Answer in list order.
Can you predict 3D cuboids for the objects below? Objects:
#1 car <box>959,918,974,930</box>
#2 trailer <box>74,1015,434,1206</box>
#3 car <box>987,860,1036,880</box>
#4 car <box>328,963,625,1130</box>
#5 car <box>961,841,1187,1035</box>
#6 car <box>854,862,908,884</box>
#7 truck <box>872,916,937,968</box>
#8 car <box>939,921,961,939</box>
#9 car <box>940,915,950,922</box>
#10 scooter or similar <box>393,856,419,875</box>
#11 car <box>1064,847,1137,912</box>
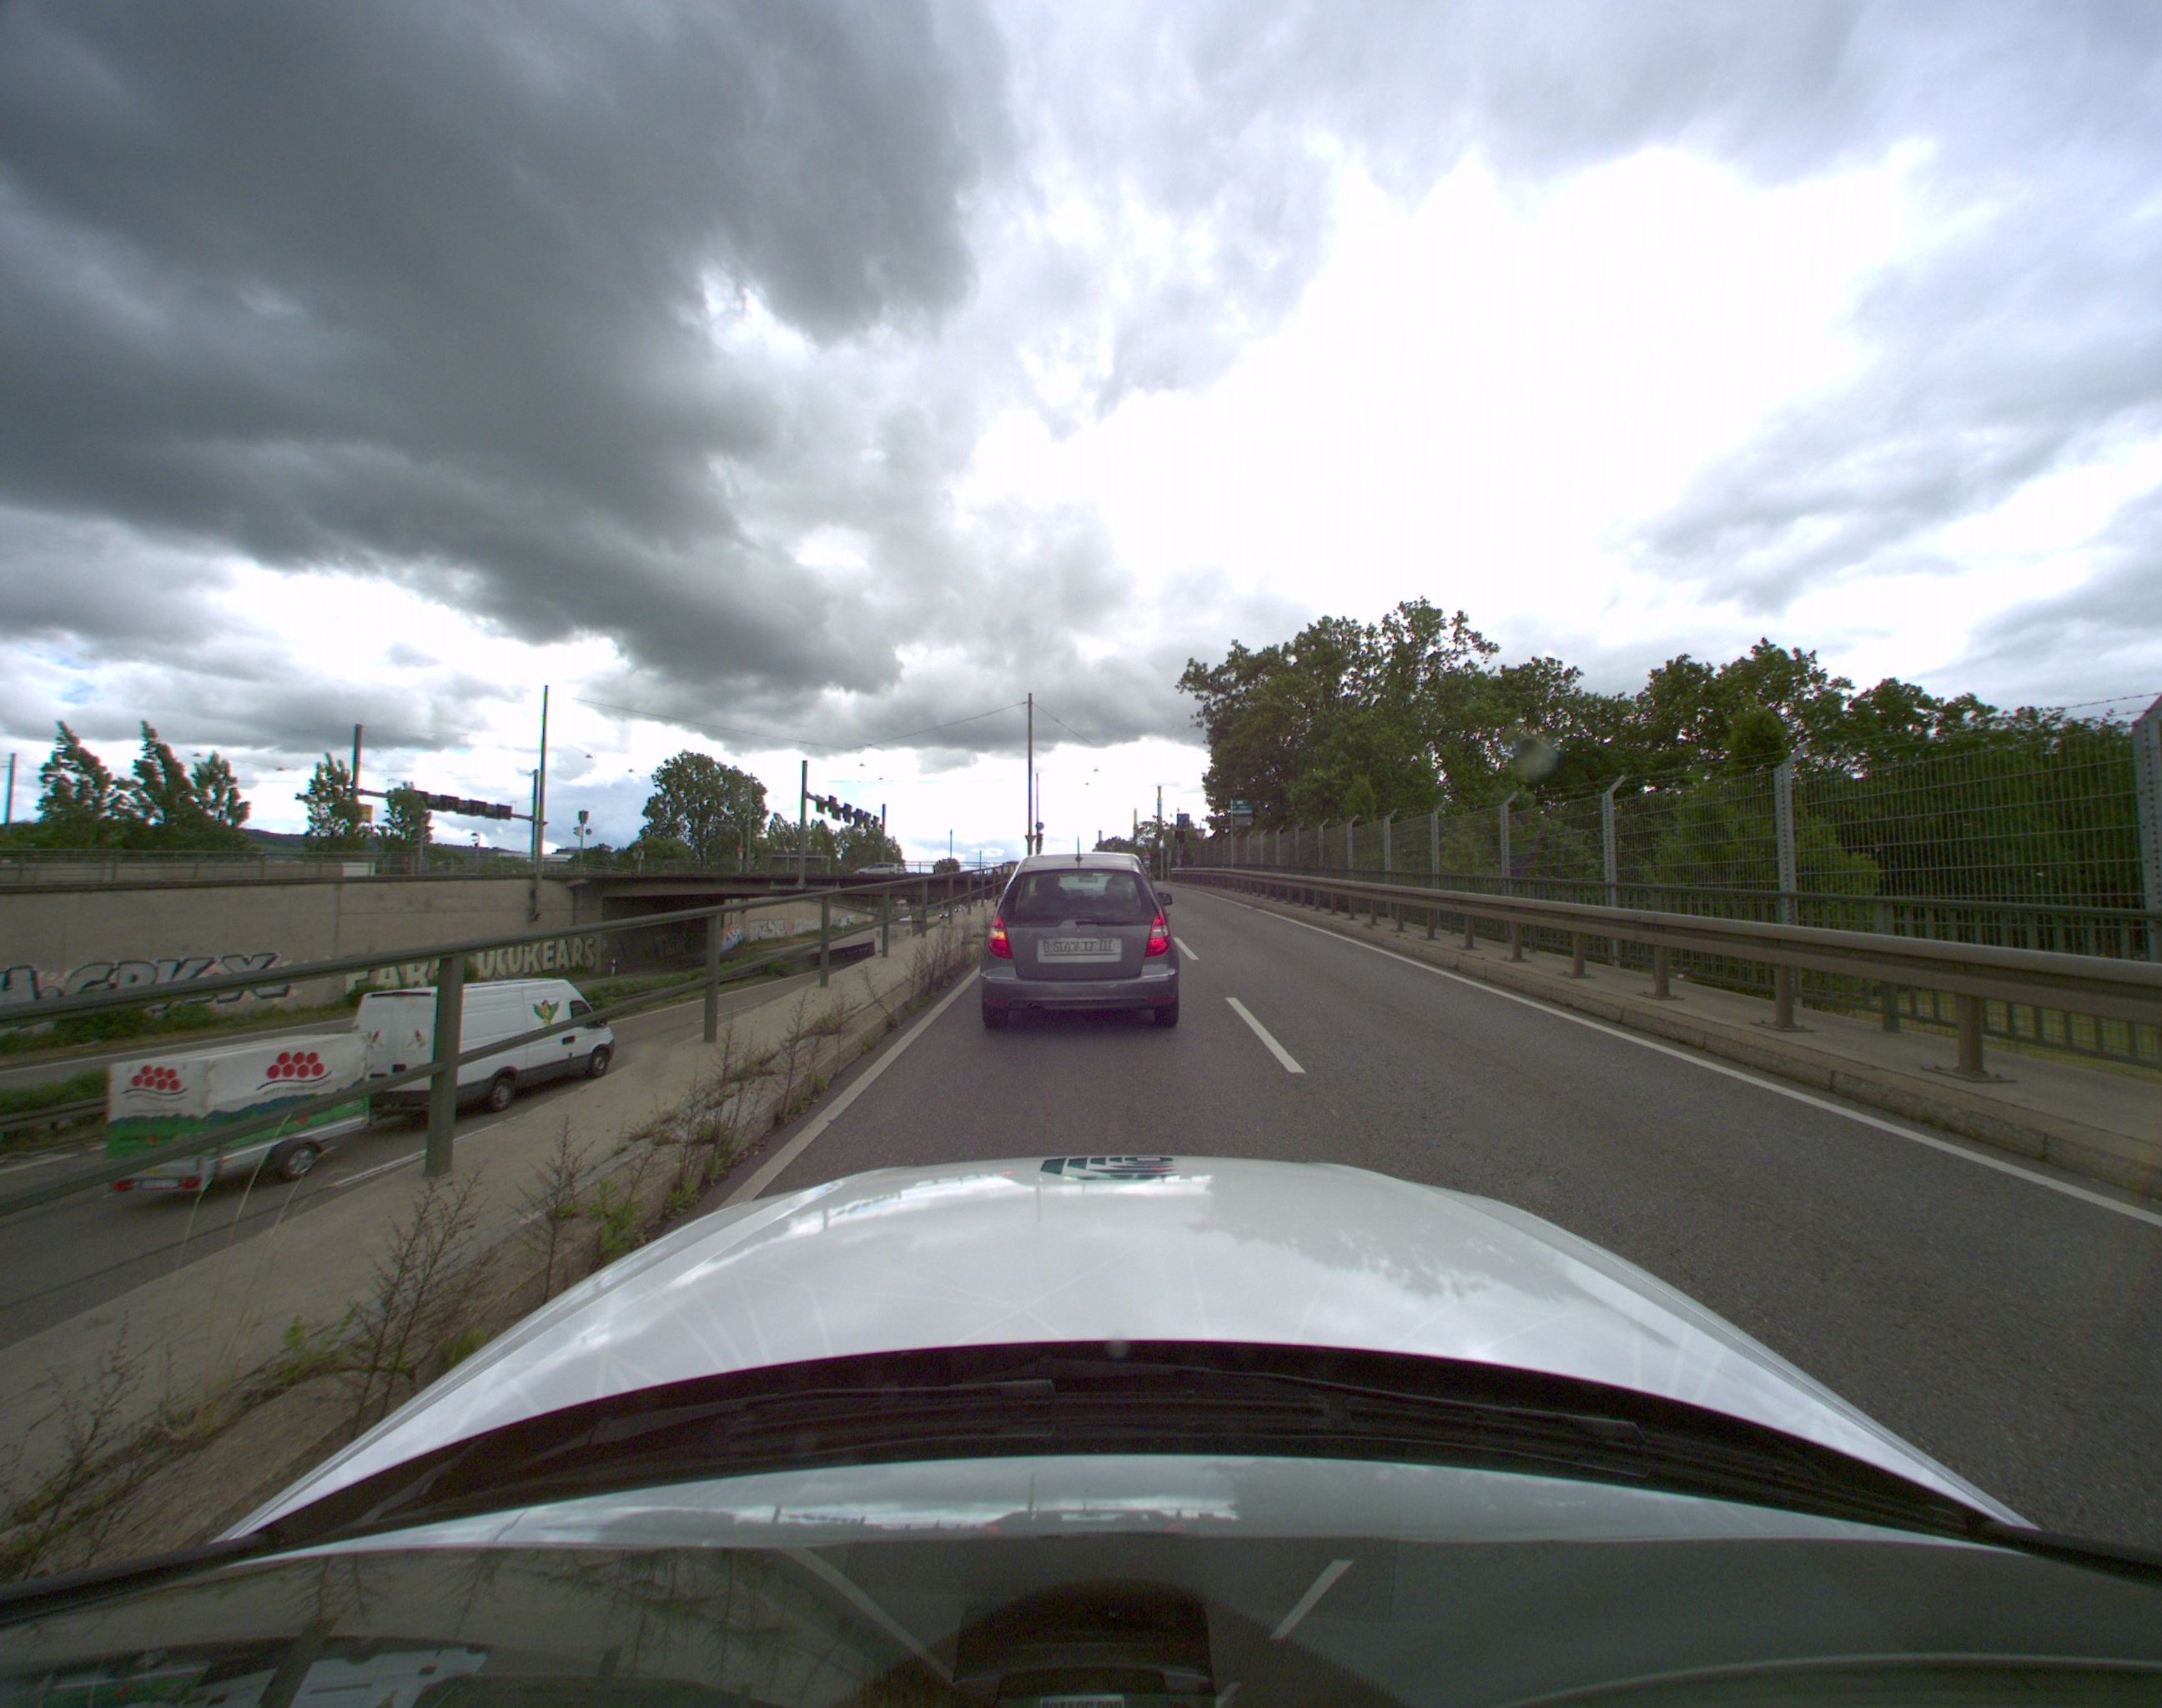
[{"bbox_3d":[-17.922,10.981,127.585,1.893,1.622,4.174,0,-3,-2],"label":"car"},{"bbox_3d":[-13.232,4.001,13.470,1.722,2.130,3.936,0,-4,2],"label":"trailer"},{"bbox_3d":[-5.851,1.305,67.997,1.849,1.576,4.293,0,-1,-42],"label":"car"},{"bbox_3d":[-13.035,4.017,18.304,1.986,2.685,5.933,0,-4,2],"label":"car"},{"bbox_3d":[0.006,0.701,8.719,1.851,1.588,4.002,0,0,2],"label":"car"},{"bbox_3d":[-17.624,1.690,71.719,4.181,1.870,2.002,0,-1,3],"label":"car"},{"bbox_3d":[-12.325,6.108,57.624,2.736,3.293,7.442,0,-3,2],"label":"truck"},{"bbox_3d":[-16.636,9.672,103.862,1.891,2.003,4.959,-1,-3,2],"label":"car"},{"bbox_3d":[-33.756,16.001,202.587,1.910,1.739,4.549,-1,-3,-1],"label":"car"},{"bbox_3d":[-42.084,0.728,50.781,0.542,1.094,1.414,-1,-2,-4],"label":"scooter or similar"},{"bbox_3d":[0.488,0.706,24.249,1.926,1.717,4.402,0,0,-2],"label":"car"}]
